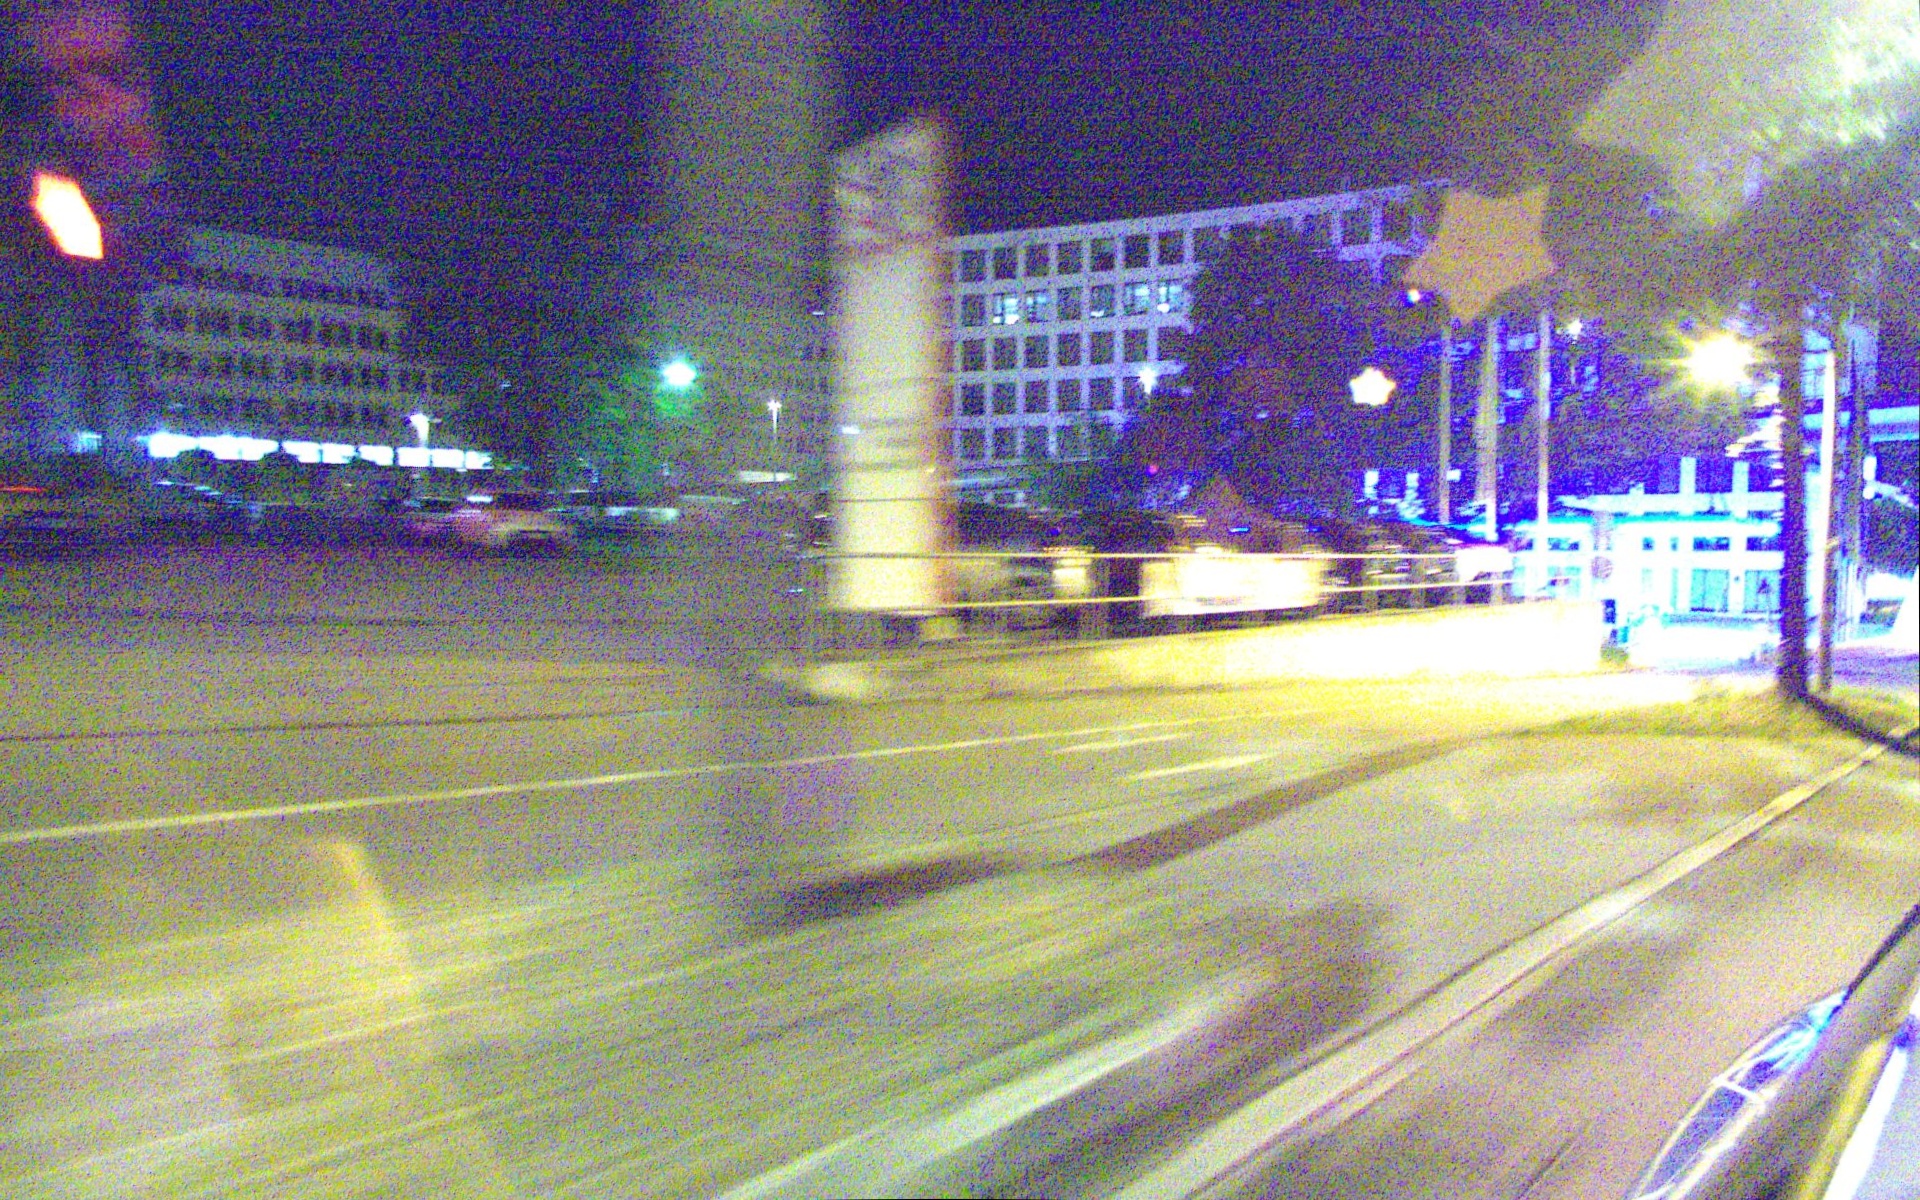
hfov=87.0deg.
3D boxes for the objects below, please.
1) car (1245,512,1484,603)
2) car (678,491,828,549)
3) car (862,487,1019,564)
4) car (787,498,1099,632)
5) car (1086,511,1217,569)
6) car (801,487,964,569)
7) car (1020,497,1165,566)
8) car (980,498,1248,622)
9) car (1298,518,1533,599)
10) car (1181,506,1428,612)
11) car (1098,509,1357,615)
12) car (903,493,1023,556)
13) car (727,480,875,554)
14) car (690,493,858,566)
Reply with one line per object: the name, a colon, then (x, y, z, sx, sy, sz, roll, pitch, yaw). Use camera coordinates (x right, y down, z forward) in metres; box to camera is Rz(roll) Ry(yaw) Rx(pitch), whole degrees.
car: (7.792, -0.900, 19.822, 1.707, 1.590, 3.999, -2, 5, -38)
car: (-7.826, -3.038, 38.507, 5.157, 1.994, 2.184, 2, 3, 11)
car: (-0.604, -1.938, 25.782, 1.719, 1.745, 4.376, -1, 6, -37)
car: (-0.207, -0.547, 13.477, 3.795, 1.507, 1.731, 3, 6, 20)
car: (5.629, -1.808, 30.054, 1.606, 1.487, 3.656, -1, 7, -36)
car: (-1.878, -1.701, 23.407, 1.787, 1.709, 3.999, -2, 6, -39)
car: (3.705, -2.007, 28.985, 1.803, 1.751, 4.002, -1, 6, -36)
car: (2.173, -0.664, 14.897, 1.698, 1.588, 3.566, -2, 5, -44)
car: (9.487, -0.948, 21.360, 1.790, 1.540, 4.132, -2, 5, -38)
car: (6.049, -0.812, 18.082, 1.750, 1.605, 3.756, -2, 6, -41)
car: (4.242, -0.698, 16.479, 1.712, 1.506, 3.732, -2, 5, -41)
car: (0.049, -2.462, 32.920, 1.723, 1.918, 3.815, -2, 5, -43)
car: (-4.617, -2.353, 28.894, 1.967, 1.933, 4.584, -2, 5, -43)
car: (-4.174, -1.591, 22.348, 3.876, 1.449, 1.740, 6, 6, 44)
